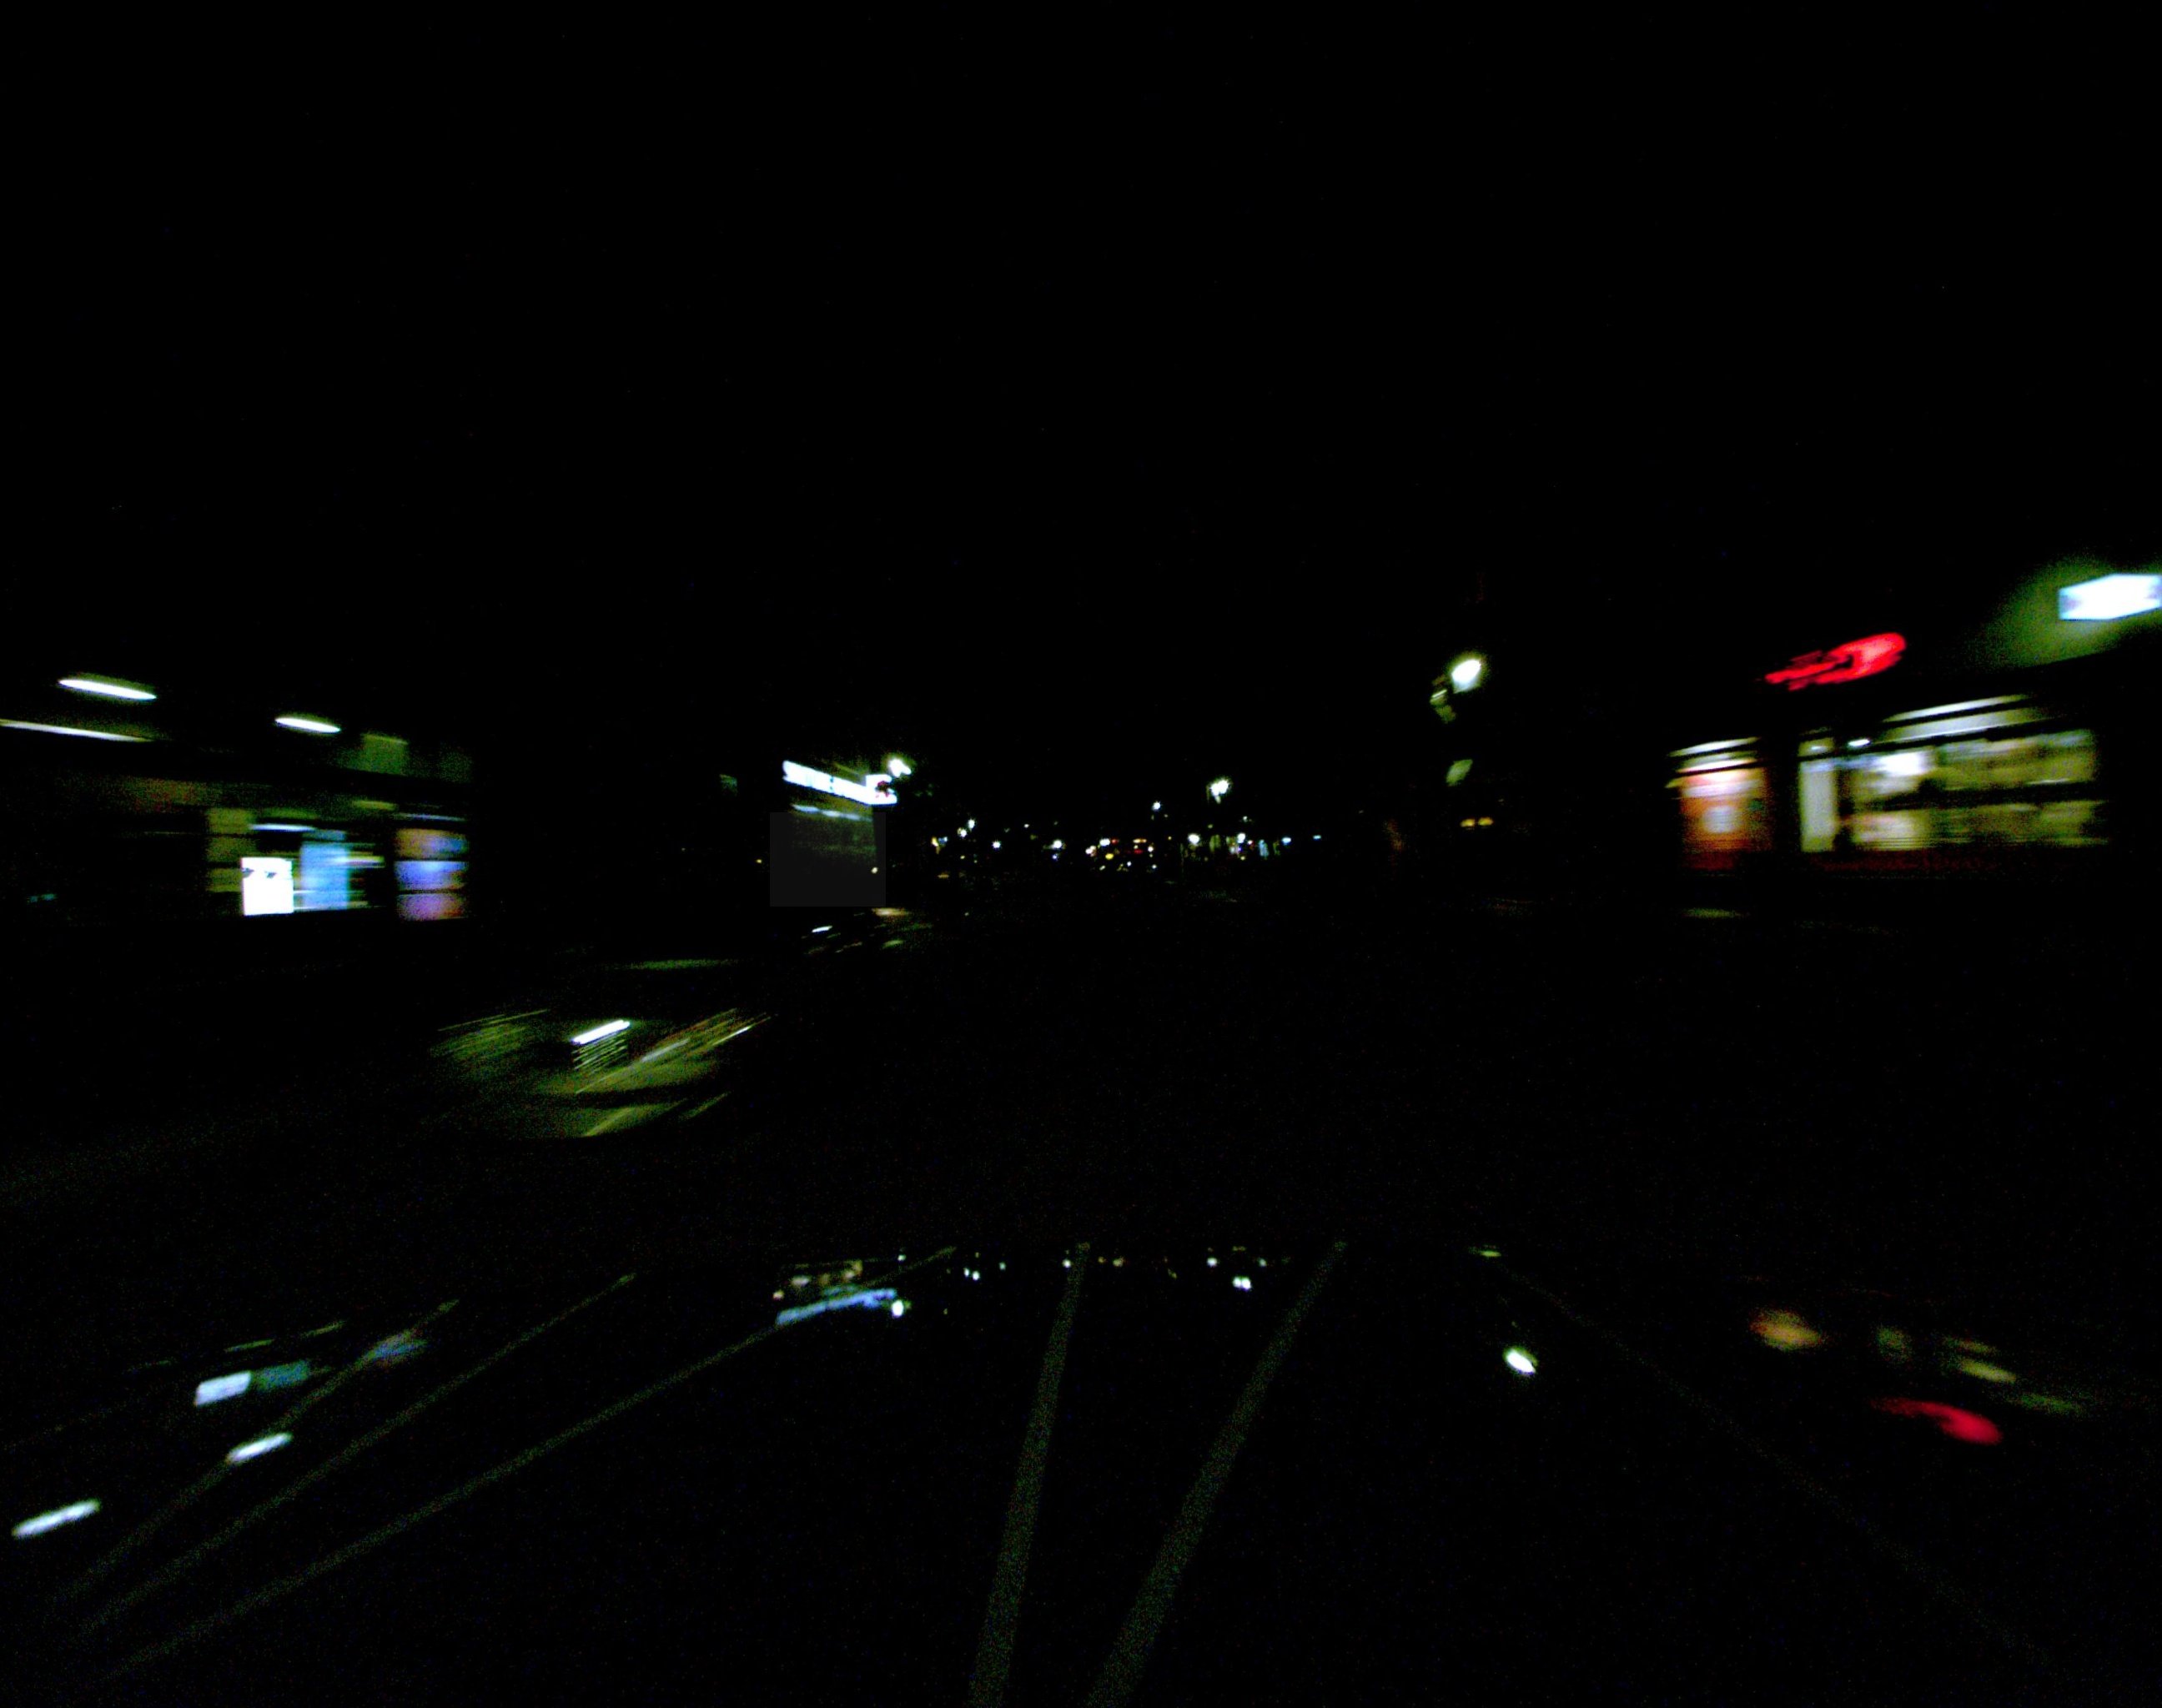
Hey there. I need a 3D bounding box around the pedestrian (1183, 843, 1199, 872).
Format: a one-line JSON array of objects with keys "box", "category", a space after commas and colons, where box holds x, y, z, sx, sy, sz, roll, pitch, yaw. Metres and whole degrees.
[{"box": [7.179, 0.200, 49.549, 0.793, 1.807, 1.024, -3, 1, 14], "category": "pedestrian"}]

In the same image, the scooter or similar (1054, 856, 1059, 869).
[{"box": [-2.630, 0.908, 81.026, 0.318, 1.281, 1.447, -3, 0, -9], "category": "scooter or similar"}]

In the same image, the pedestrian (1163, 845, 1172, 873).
[{"box": [5.677, 0.307, 50.065, 0.502, 1.811, 0.504, -1, 2, 13], "category": "pedestrian"}]

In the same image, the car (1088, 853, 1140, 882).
[{"box": [1.900, 0.767, 45.513, 1.911, 1.533, 4.777, -3, 0, -12], "category": "car"}]

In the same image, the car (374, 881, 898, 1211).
[{"box": [-2.749, 1.029, 6.051, 1.739, 1.432, 4.495, -2, 0, -4], "category": "car"}]

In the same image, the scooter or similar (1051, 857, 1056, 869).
[{"box": [-2.928, 0.919, 80.972, 0.370, 1.256, 1.448, -3, 0, -8], "category": "scooter or similar"}]

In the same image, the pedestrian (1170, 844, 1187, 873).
[{"box": [6.411, 0.273, 50.116, 0.879, 1.821, 0.791, -3, 1, 17], "category": "pedestrian"}]

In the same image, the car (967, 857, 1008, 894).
[{"box": [-4.362, 0.942, 35.498, 1.747, 1.479, 4.632, -2, 1, -7], "category": "car"}]

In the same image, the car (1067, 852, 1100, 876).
[{"box": [0.133, 0.710, 56.356, 1.776, 1.565, 4.479, -3, 1, -8], "category": "car"}]

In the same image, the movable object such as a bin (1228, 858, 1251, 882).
[{"box": [7.201, 0.727, 34.557, 0.749, 1.059, 0.791, -2, 2, -9], "category": "movable object such as a bin"}]

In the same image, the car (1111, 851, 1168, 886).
[{"box": [2.973, 0.720, 39.711, 1.765, 1.628, 4.810, -2, 0, -10], "category": "car"}]
